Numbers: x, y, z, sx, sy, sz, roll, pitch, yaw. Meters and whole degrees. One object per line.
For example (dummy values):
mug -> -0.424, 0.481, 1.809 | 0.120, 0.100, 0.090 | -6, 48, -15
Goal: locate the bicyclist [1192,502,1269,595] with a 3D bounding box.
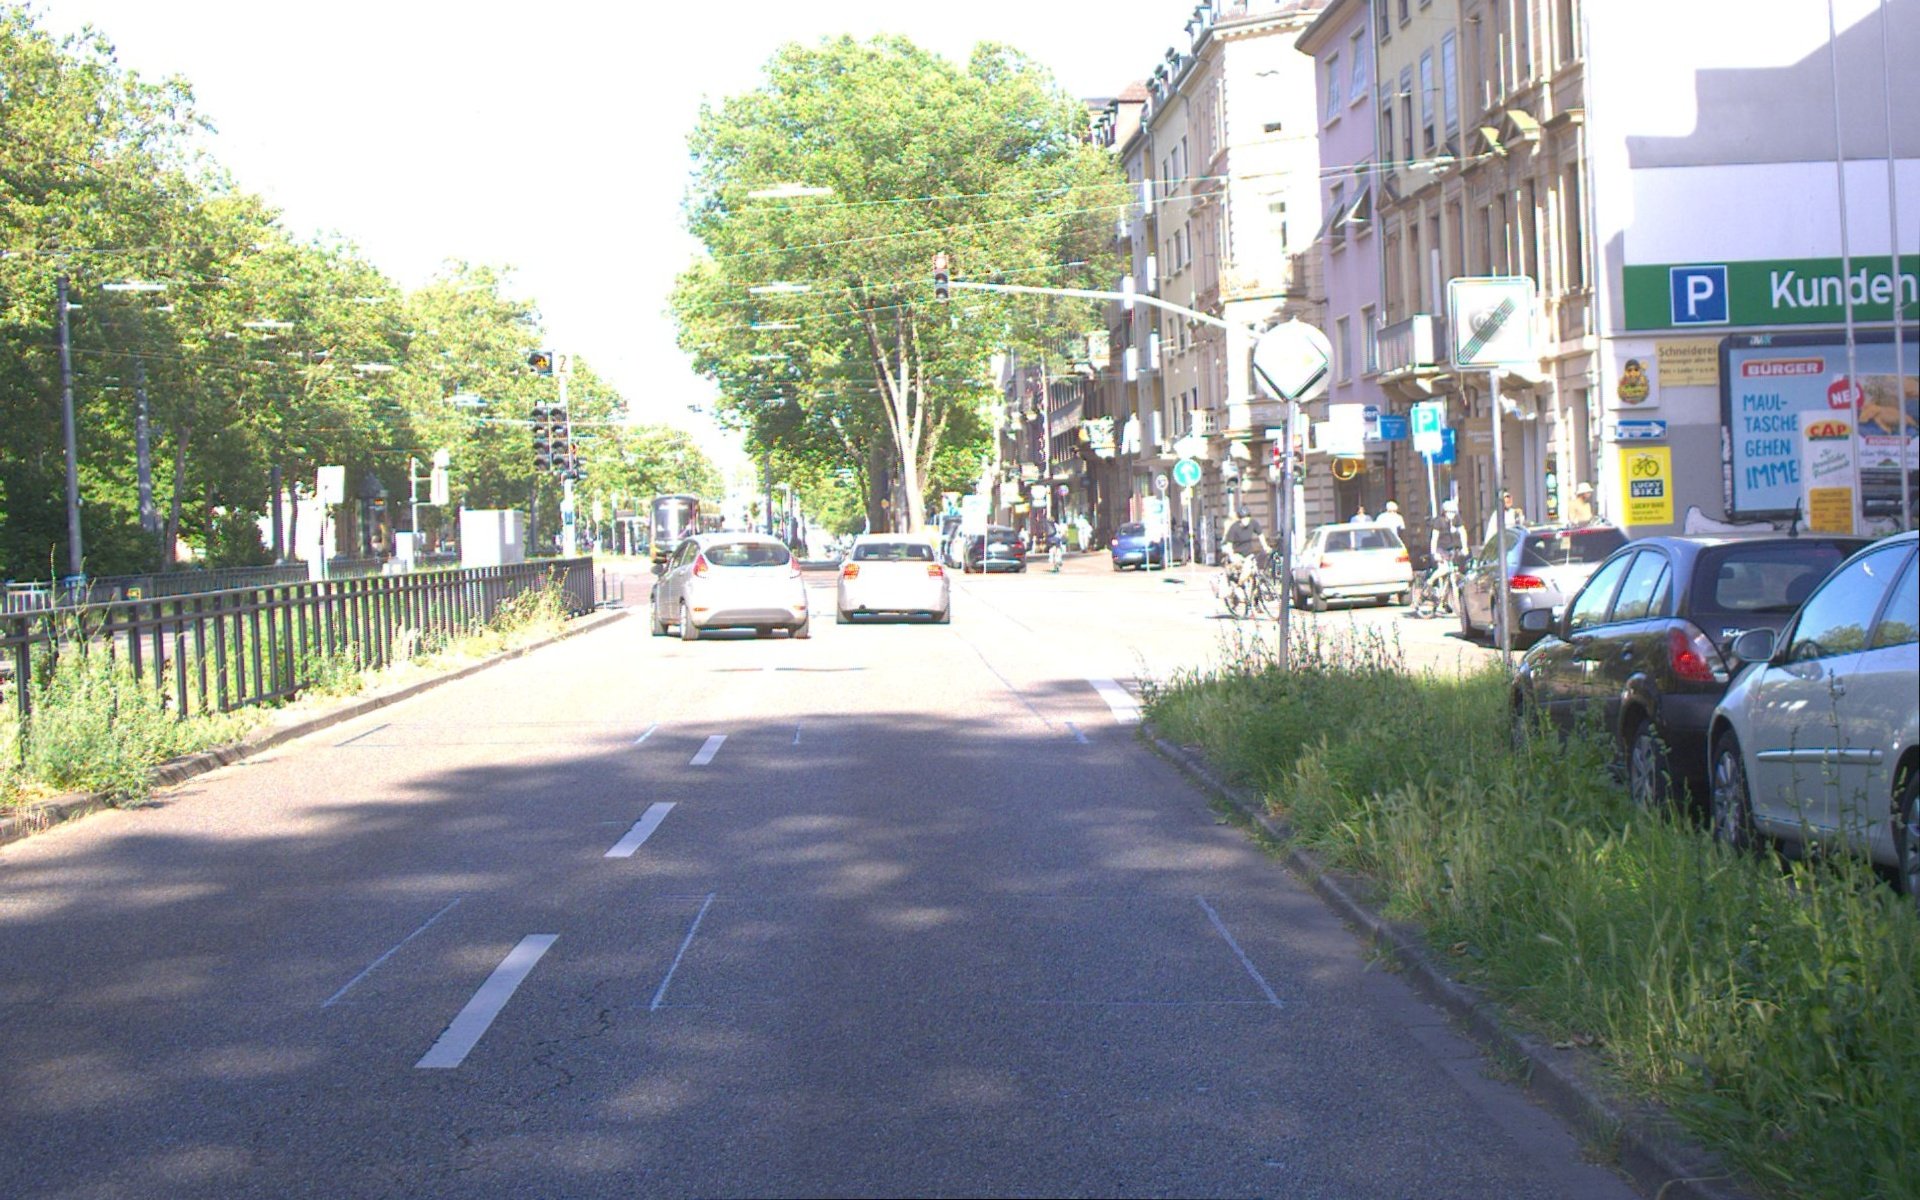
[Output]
bicyclist -> 4.301, -0.823, 54.692 | 0.951, 1.457, 0.745 | 0, 1, 43

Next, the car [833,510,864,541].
car -> -7.642, -5.103, 235.332 | 1.993, 2.007, 4.000 | -2, 1, -1

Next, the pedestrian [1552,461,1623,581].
pedestrian -> 9.749, -1.227, 53.463 | 0.760, 1.835, 0.748 | -2, 1, -19

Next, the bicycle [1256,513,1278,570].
bicycle -> 6.317, -1.205, 70.715 | 0.414, 1.137, 1.809 | -1, 2, 5

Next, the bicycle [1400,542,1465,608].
bicycle -> 6.997, -0.375, 50.963 | 0.649, 0.917, 1.918 | -2, 1, -1

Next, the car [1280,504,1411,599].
car -> 6.458, -0.846, 57.938 | 1.562, 1.411, 4.004 | -5, 2, -1

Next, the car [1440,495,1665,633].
car -> 7.307, -0.484, 42.838 | 1.833, 1.482, 4.734 | -4, 1, 0

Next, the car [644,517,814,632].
car -> -3.212, -0.382, 47.218 | 1.609, 1.462, 3.891 | -2, 2, -14

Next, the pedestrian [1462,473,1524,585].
pedestrian -> 8.513, -1.135, 54.921 | 0.760, 1.749, 0.513 | -3, 1, -21

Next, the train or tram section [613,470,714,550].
train or tram section -> -15.241, -4.662, 178.076 | 3.969, 3.852, 17.490 | -1, 1, -1

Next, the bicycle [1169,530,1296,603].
bicycle -> 4.329, -0.531, 54.684 | 0.757, 1.098, 1.952 | -3, 2, -44

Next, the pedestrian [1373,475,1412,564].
pedestrian -> 8.911, -1.656, 70.894 | 0.673, 1.800, 0.531 | -2, 1, -1

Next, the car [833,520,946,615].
car -> -1.135, -0.549, 55.049 | 1.740, 1.462, 4.001 | 0, 1, -1

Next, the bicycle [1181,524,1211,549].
bicycle -> 7.677, -2.065, 112.029 | 0.754, 0.768, 1.946 | -2, 1, -3

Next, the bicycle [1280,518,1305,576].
bicycle -> 6.805, -1.086, 70.341 | 0.448, 1.155, 1.758 | -2, 2, 5

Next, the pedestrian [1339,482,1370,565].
pedestrian -> 8.140, -1.582, 70.924 | 0.549, 1.702, 0.388 | -2, 1, 2

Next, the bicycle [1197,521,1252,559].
bicycle -> 6.456, -1.469, 83.748 | 0.654, 0.900, 1.335 | 0, 2, 41

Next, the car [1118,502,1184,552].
car -> 5.985, -2.301, 107.827 | 1.735, 1.514, 3.637 | -1, 1, -2

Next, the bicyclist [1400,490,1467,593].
bicyclist -> 7.014, -0.871, 50.988 | 0.676, 1.441, 1.182 | -6, 1, -1

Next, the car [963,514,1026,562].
car -> 1.035, -1.933, 105.809 | 1.735, 1.428, 3.678 | -1, 1, -3

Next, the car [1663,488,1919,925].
car -> 4.121, 0.344, 13.370 | 1.738, 1.512, 4.001 | 1, 1, -3

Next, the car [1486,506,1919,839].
car -> 3.948, 0.291, 17.740 | 1.640, 1.512, 4.001 | 1, 1, -3
